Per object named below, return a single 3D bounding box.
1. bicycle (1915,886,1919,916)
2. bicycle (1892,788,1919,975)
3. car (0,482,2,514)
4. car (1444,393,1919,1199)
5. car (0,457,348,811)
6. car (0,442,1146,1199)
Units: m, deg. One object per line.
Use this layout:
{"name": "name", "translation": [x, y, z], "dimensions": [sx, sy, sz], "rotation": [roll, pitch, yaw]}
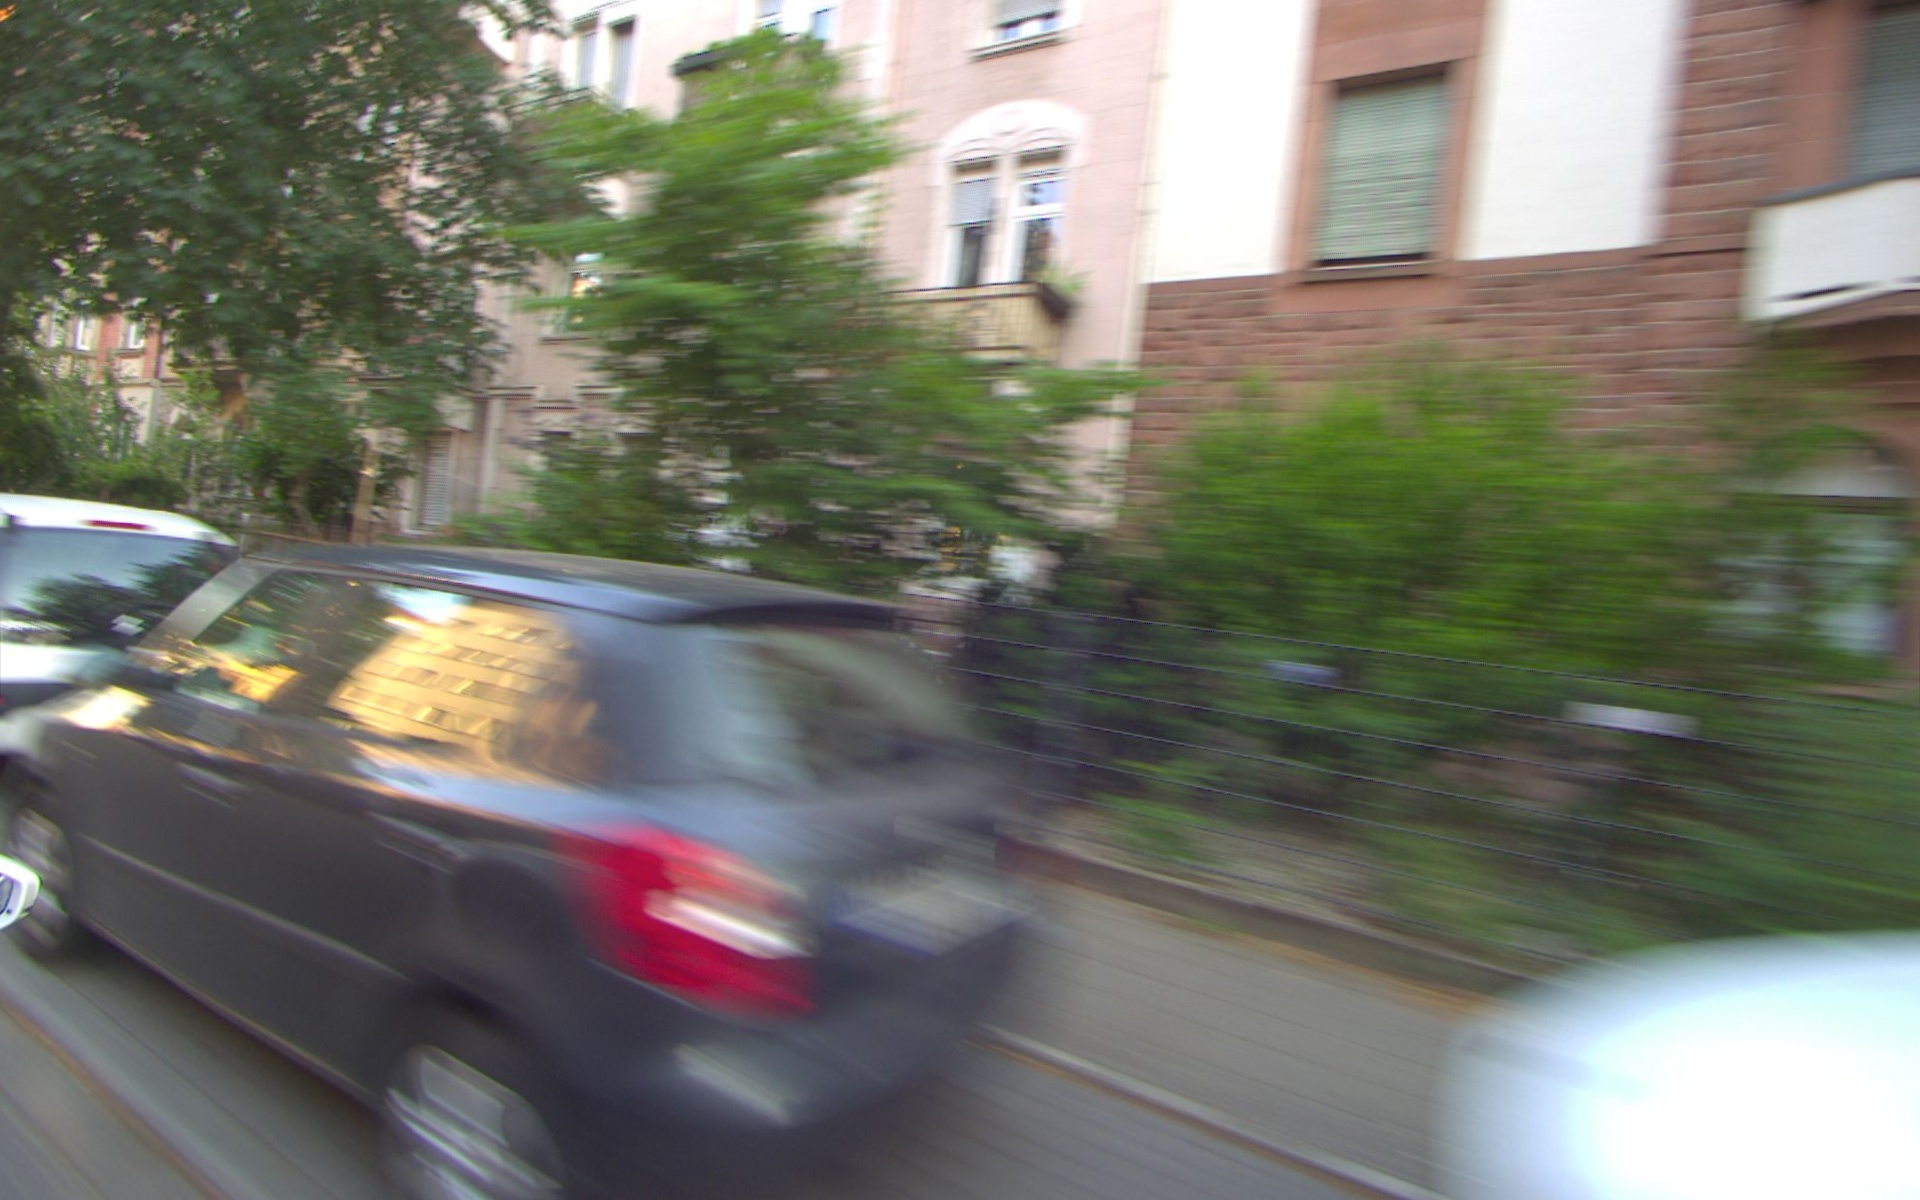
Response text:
{"name": "bicycle", "translation": [5.796, 1.417, 5.516], "dimensions": [0.325, 1.047, 1.511], "rotation": [9, 2, 30]}
{"name": "bicycle", "translation": [4.856, 1.362, 4.659], "dimensions": [0.325, 1.047, 1.511], "rotation": [9, 2, 30]}
{"name": "car", "translation": [-9.555, -0.407, 8.057], "dimensions": [4.140, 1.460, 1.688], "rotation": [7, 1, 32]}
{"name": "car", "translation": [2.846, 0.948, 0.655], "dimensions": [4.522, 1.732, 1.801], "rotation": [7, 0, 29]}
{"name": "car", "translation": [-5.687, 0.036, 6.078], "dimensions": [3.684, 1.625, 1.690], "rotation": [7, -1, 29]}
{"name": "car", "translation": [-1.720, 0.478, 3.371], "dimensions": [4.140, 1.625, 1.689], "rotation": [7, -1, 32]}
